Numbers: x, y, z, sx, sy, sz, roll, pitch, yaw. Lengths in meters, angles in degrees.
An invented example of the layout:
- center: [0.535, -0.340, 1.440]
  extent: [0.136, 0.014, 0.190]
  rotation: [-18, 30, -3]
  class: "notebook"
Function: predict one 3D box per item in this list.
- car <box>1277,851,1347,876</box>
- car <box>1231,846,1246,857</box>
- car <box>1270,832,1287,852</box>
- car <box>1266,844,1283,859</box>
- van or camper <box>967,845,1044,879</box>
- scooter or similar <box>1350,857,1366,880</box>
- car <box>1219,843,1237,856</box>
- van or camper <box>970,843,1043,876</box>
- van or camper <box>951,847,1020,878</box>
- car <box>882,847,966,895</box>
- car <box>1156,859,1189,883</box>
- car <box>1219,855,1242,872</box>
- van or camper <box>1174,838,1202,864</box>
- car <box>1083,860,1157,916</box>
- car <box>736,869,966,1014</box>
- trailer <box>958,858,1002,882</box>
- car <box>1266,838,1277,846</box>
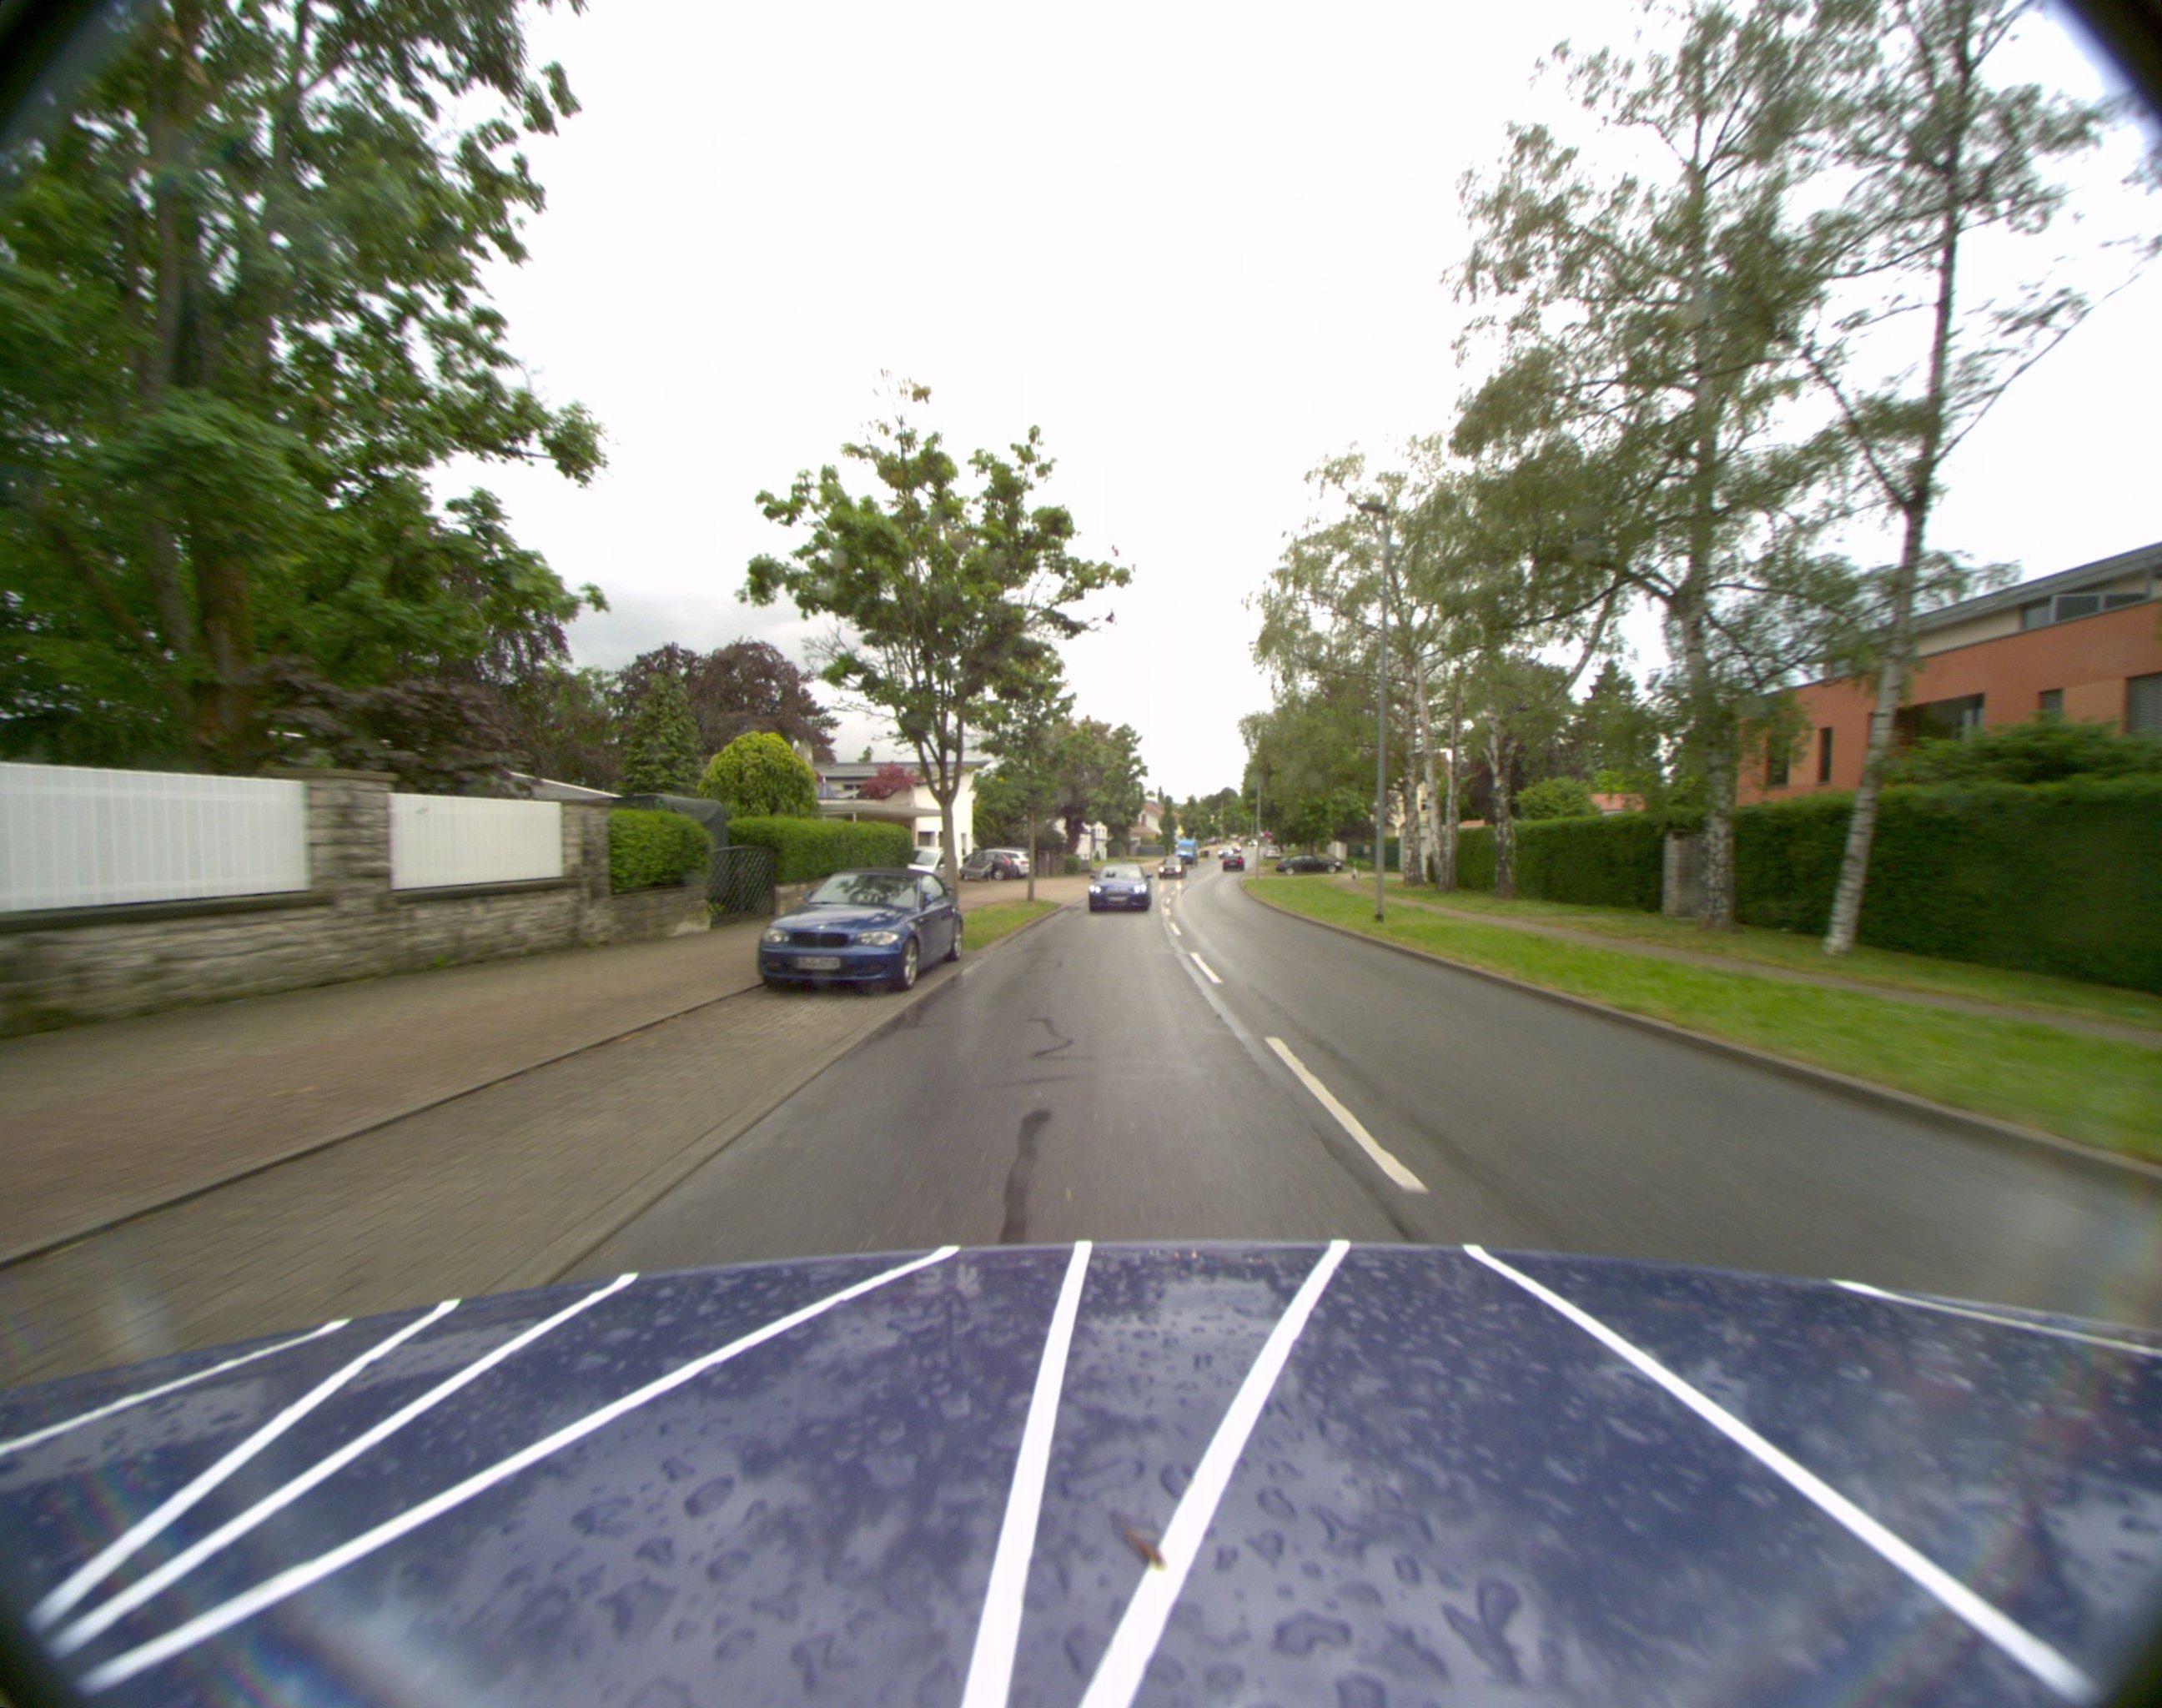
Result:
- center: [15.891, 0.677, 52.471]
  extent: [4.434, 1.409, 1.757]
  rotation: [-4, 1, 15]
  class: "car"
- center: [24.247, -0.415, 117.143]
  extent: [1.893, 1.531, 4.004]
  rotation: [-2, 1, 17]
  class: "car"
- center: [30.060, -1.858, 115.483]
  extent: [2.245, 2.823, 5.049]
  rotation: [-1, 2, 18]
  class: "car"
- center: [23.691, -0.321, 93.088]
  extent: [1.773, 1.597, 4.004]
  rotation: [0, 2, 18]
  class: "car"
- center: [-4.450, 0.440, 44.871]
  extent: [3.993, 1.668, 2.125]
  rotation: [4, 2, 11]
  class: "van or camper"
- center: [15.117, 0.782, 41.467]
  extent: [0.424, 1.151, 1.493]
  rotation: [-2, 0, 35]
  class: "scooter or similar"
- center: [19.263, -0.576, 99.186]
  extent: [1.893, 1.531, 4.004]
  rotation: [-2, 1, 17]
  class: "car"
- center: [-4.603, 0.316, 47.240]
  extent: [4.019, 1.778, 1.949]
  rotation: [4, 2, 14]
  class: "van or camper"
- center: [-5.233, 0.451, 41.946]
  extent: [3.408, 1.547, 1.770]
  rotation: [2, 2, 6]
  class: "van or camper"
- center: [-6.132, 0.603, 30.340]
  extent: [1.798, 1.747, 4.945]
  rotation: [0, 1, 7]
  class: "car"
- center: [6.598, 1.204, 54.628]
  extent: [1.845, 1.531, 4.003]
  rotation: [-2, 1, 13]
  class: "car"
- center: [13.395, 0.841, 68.285]
  extent: [1.758, 1.432, 4.159]
  rotation: [-2, 0, 8]
  class: "car"
- center: [11.784, -0.377, 83.213]
  extent: [2.146, 2.594, 5.787]
  rotation: [2, 3, 16]
  class: "van or camper"
- center: [1.365, 1.034, 24.711]
  extent: [1.894, 1.531, 4.002]
  rotation: [-2, 1, 10]
  class: "car"
- center: [-2.735, 0.962, 9.957]
  extent: [1.645, 1.369, 3.829]
  rotation: [2, 1, 3]
  class: "car"
- center: [-5.119, 0.796, 38.827]
  extent: [1.422, 0.916, 3.276]
  rotation: [7, 2, 6]
  class: "trailer"
- center: [38.280, -2.355, 152.647]
  extent: [1.893, 1.531, 4.005]
  rotation: [-2, 1, 18]
  class: "car"
